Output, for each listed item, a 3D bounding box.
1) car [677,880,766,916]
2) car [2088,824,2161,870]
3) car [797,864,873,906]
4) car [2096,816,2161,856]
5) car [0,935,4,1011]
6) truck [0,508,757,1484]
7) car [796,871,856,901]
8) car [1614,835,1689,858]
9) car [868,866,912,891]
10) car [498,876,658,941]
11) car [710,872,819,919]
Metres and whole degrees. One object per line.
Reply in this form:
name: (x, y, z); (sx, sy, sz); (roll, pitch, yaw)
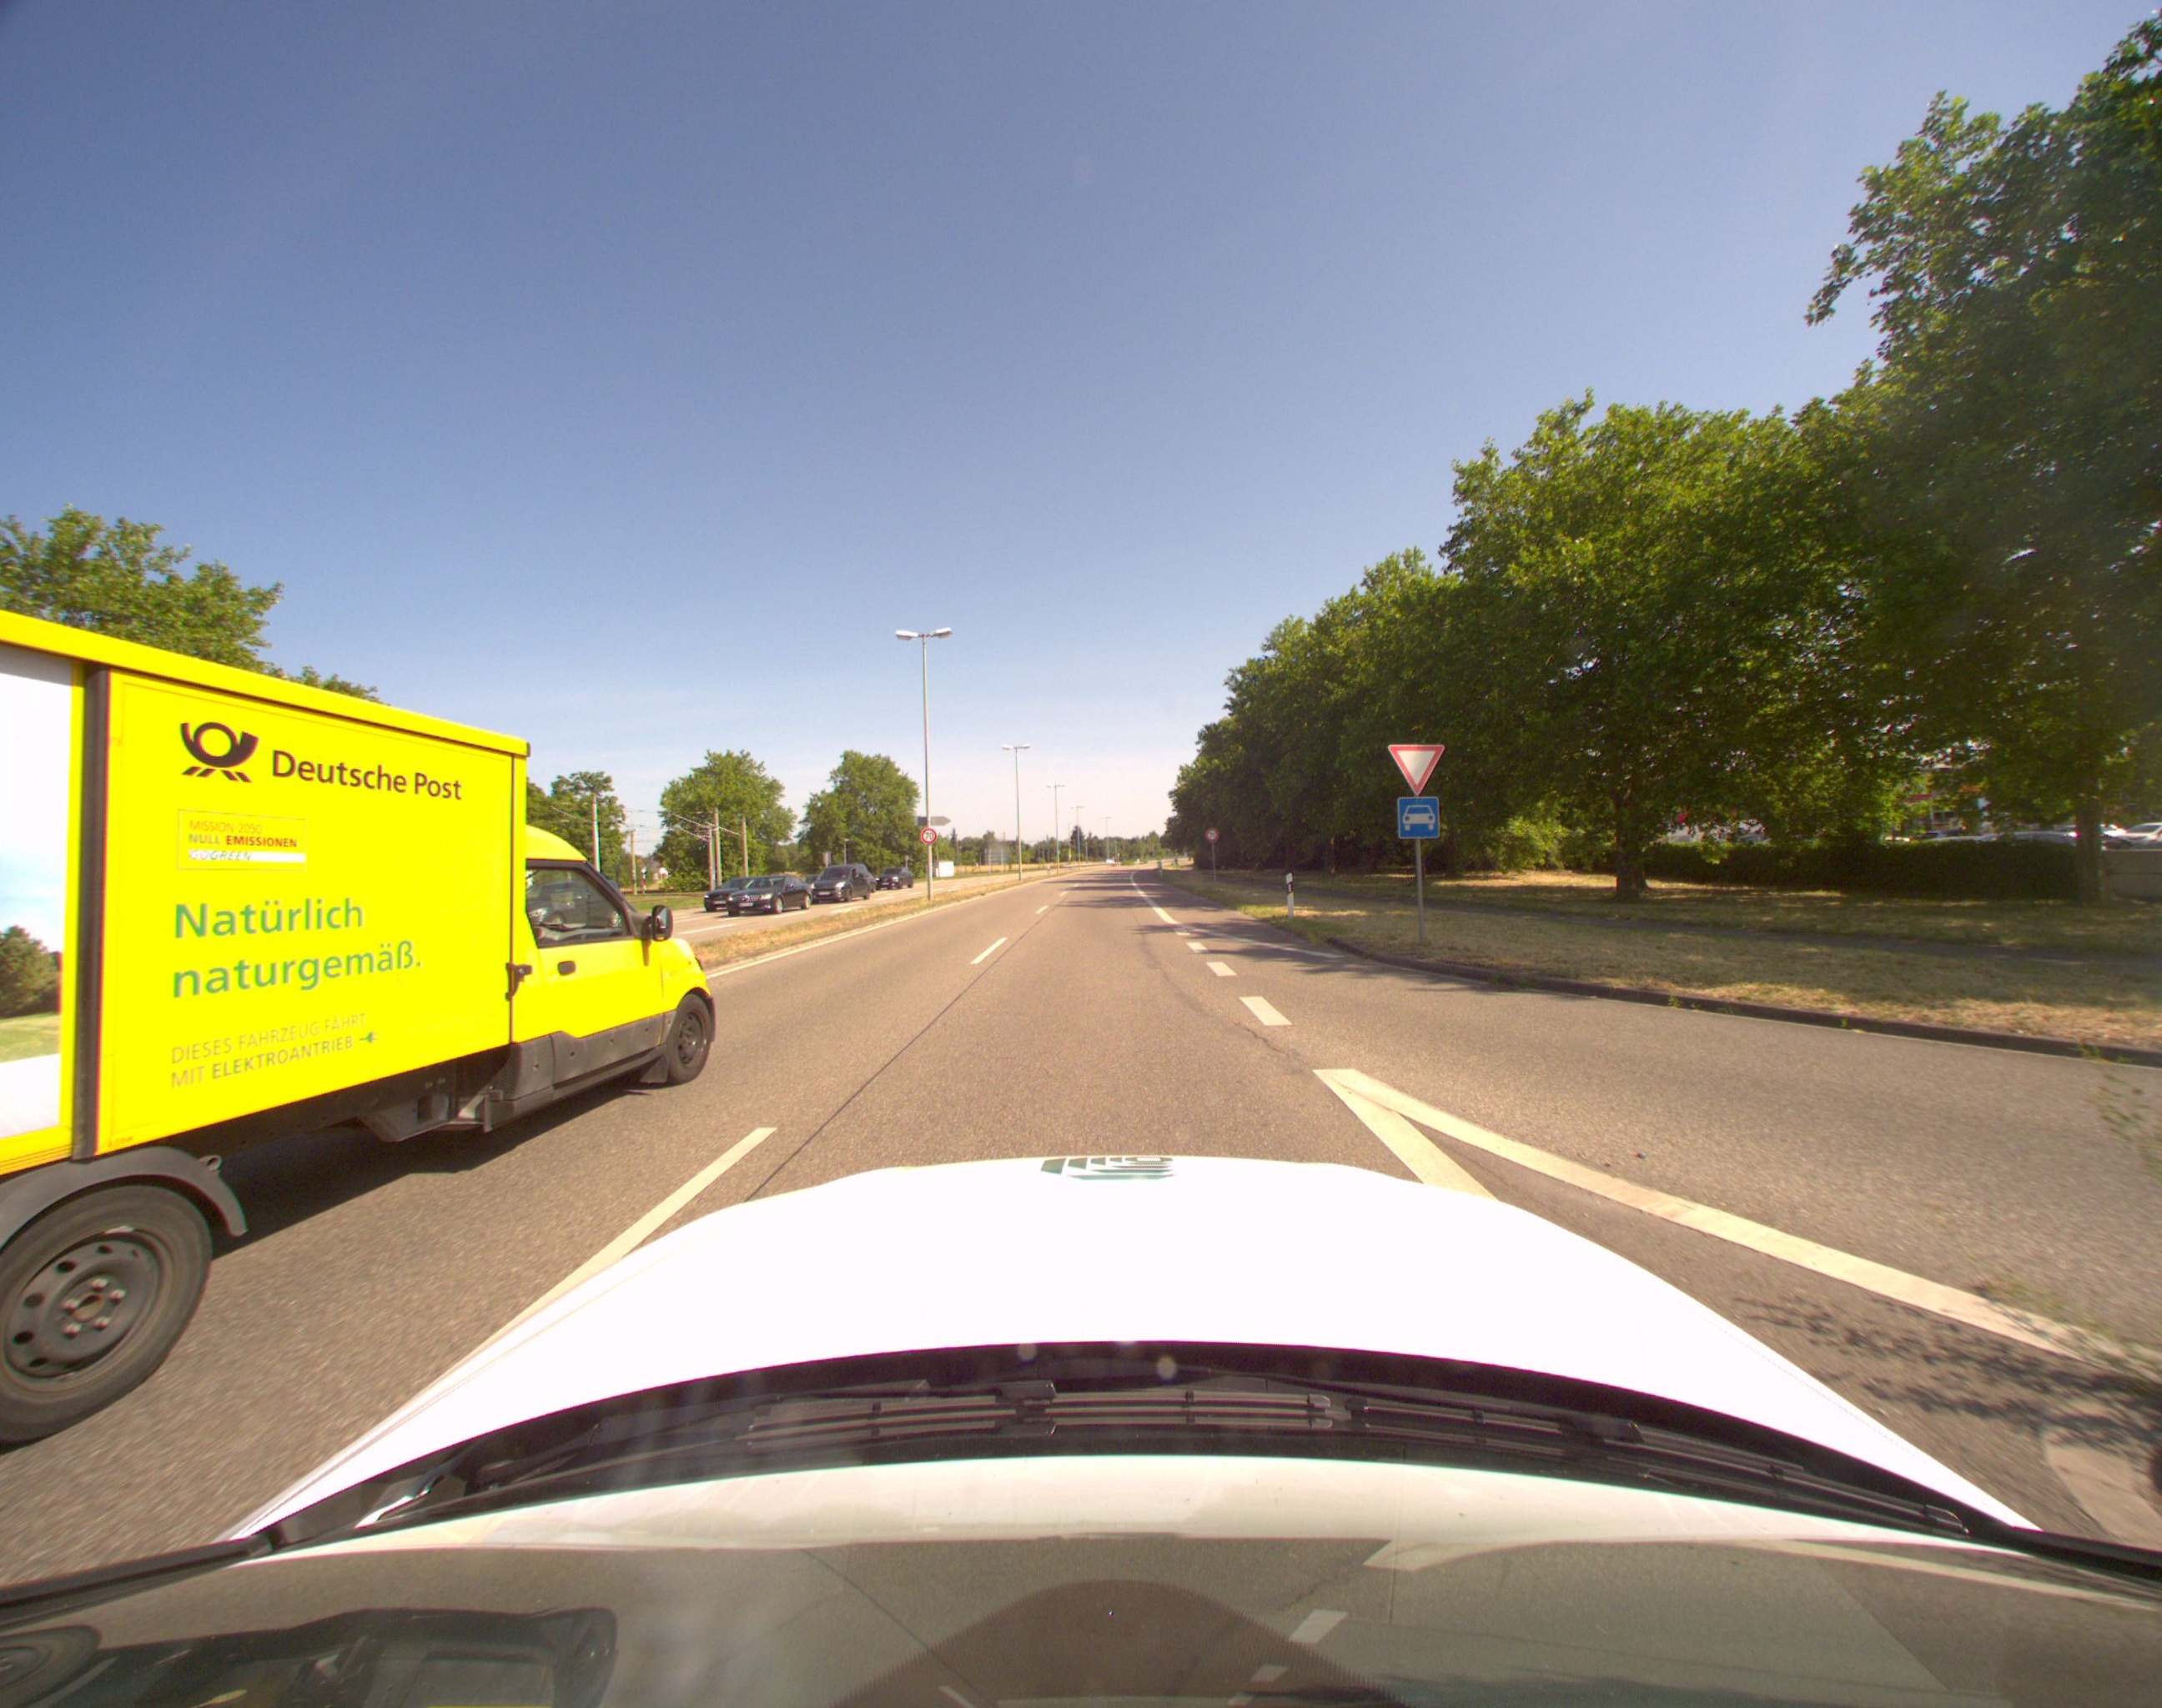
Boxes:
car: (-15.596, 1.878, 35.575); (1.986, 1.332, 4.002); (-2, -1, 2)
car: (42.138, -0.307, 30.942); (1.991, 1.750, 4.471); (-2, -1, -24)
car: (-11.412, 1.396, 38.118); (1.973, 1.779, 4.492); (-2, -1, 3)
car: (56.662, -1.006, 42.706); (3.963, 2.014, 2.005); (-2, -1, 9)
car: (-16.475, 1.561, 8.872); (1.988, 1.474, 5.614); (-4, -1, -1)
truck: (-3.750, 0.385, 3.636); (2.104, 2.457, 5.917); (-1, -1, 1)
car: (-14.888, 1.833, 47.782); (1.855, 1.545, 4.408); (-3, -1, 2)
car: (40.797, -0.523, 58.369); (3.957, 1.585, 2.008); (-1, -1, 15)
car: (-14.114, 1.806, 60.440); (1.974, 1.660, 4.557); (-2, -1, 2)
car: (-15.566, 1.612, 25.541); (2.064, 1.622, 4.490); (-4, -1, 1)
car: (-11.457, 1.461, 29.871); (1.972, 1.457, 4.455); (-2, -1, 4)
